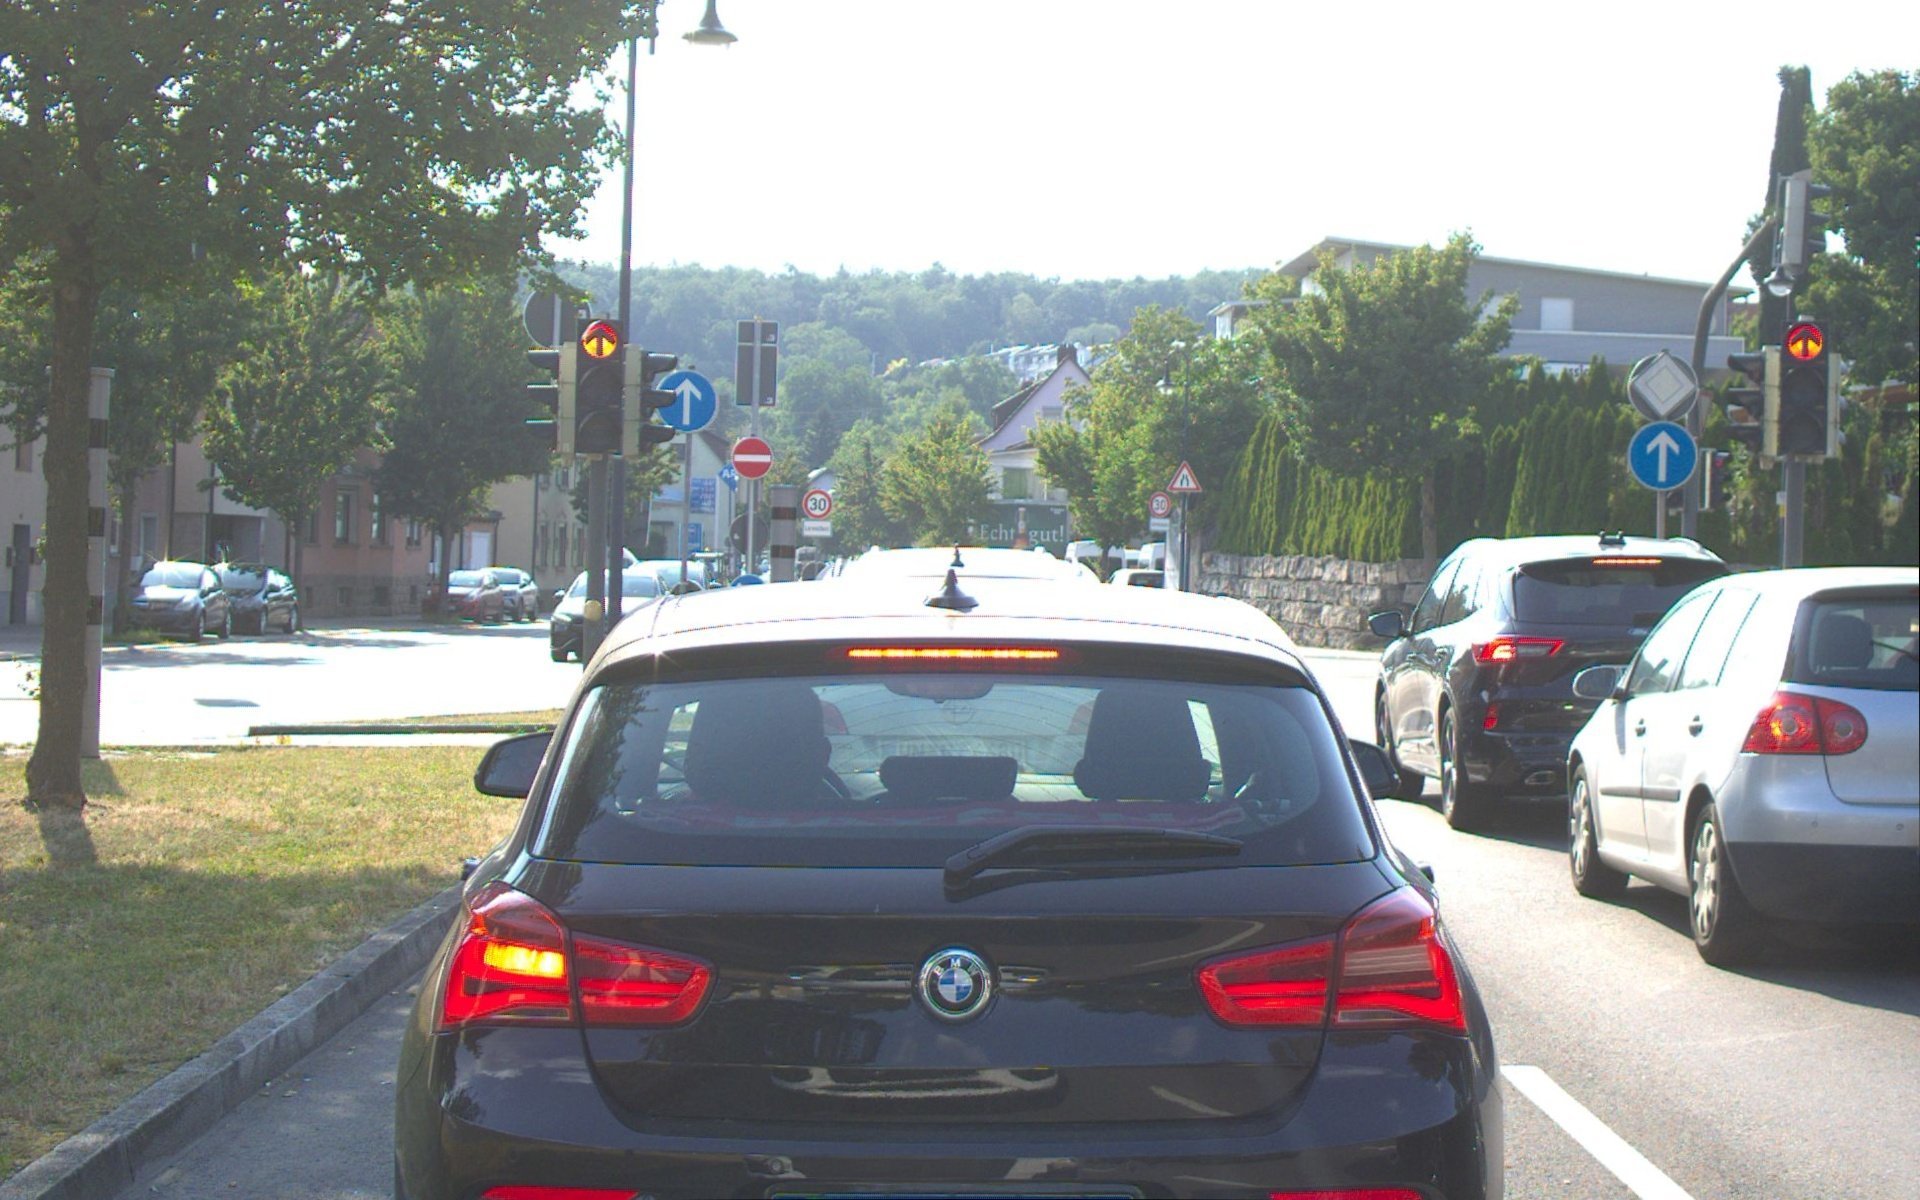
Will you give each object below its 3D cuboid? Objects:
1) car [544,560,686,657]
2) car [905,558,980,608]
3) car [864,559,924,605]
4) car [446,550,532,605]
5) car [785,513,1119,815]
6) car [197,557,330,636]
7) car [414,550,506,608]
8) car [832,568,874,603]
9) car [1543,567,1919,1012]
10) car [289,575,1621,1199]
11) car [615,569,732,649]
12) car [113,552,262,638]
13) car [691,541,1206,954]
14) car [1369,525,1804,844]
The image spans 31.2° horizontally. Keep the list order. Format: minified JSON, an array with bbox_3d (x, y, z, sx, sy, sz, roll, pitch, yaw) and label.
[{"bbox_3d":[-5.464,0.106,54.839,1.766,1.453,4.000,1,1,1],"label":"car"},{"bbox_3d":[-0.572,-0.554,108.095,1.861,1.480,4.660,1,1,-6],"label":"car"},{"bbox_3d":[-2.506,-0.684,129.163,1.890,1.696,4.525,-1,1,-6],"label":"car"},{"bbox_3d":[-14.071,-0.697,102.804,1.924,1.590,4.000,1,1,1],"label":"car"},{"bbox_3d":[-0.011,0.318,20.976,1.816,1.635,4.242,1,1,1],"label":"car"},{"bbox_3d":[-14.778,-0.099,73.173,1.924,1.590,4.000,1,1,1],"label":"car"},{"bbox_3d":[-14.137,-0.610,97.299,1.924,1.590,4.000,1,1,1],"label":"car"},{"bbox_3d":[-5.083,-0.686,163.898,1.924,1.590,4.000,1,1,-1],"label":"car"},{"bbox_3d":[3.551,0.615,13.569,1.816,1.441,4.347,1,1,1],"label":"car"},{"bbox_3d":[0.023,0.682,6.818,1.791,1.410,4.347,1,1,1],"label":"car"},{"bbox_3d":[-5.151,0.144,62.259,1.693,1.348,4.000,1,1,1],"label":"car"},{"bbox_3d":[-15.033,-0.127,67.080,1.924,1.590,4.000,1,1,1],"label":"car"},{"bbox_3d":[-0.006,0.490,14.346,1.816,1.446,4.242,1,1,1],"label":"car"},{"bbox_3d":[3.547,0.409,20.241,1.816,1.660,4.347,1,1,1],"label":"car"}]
